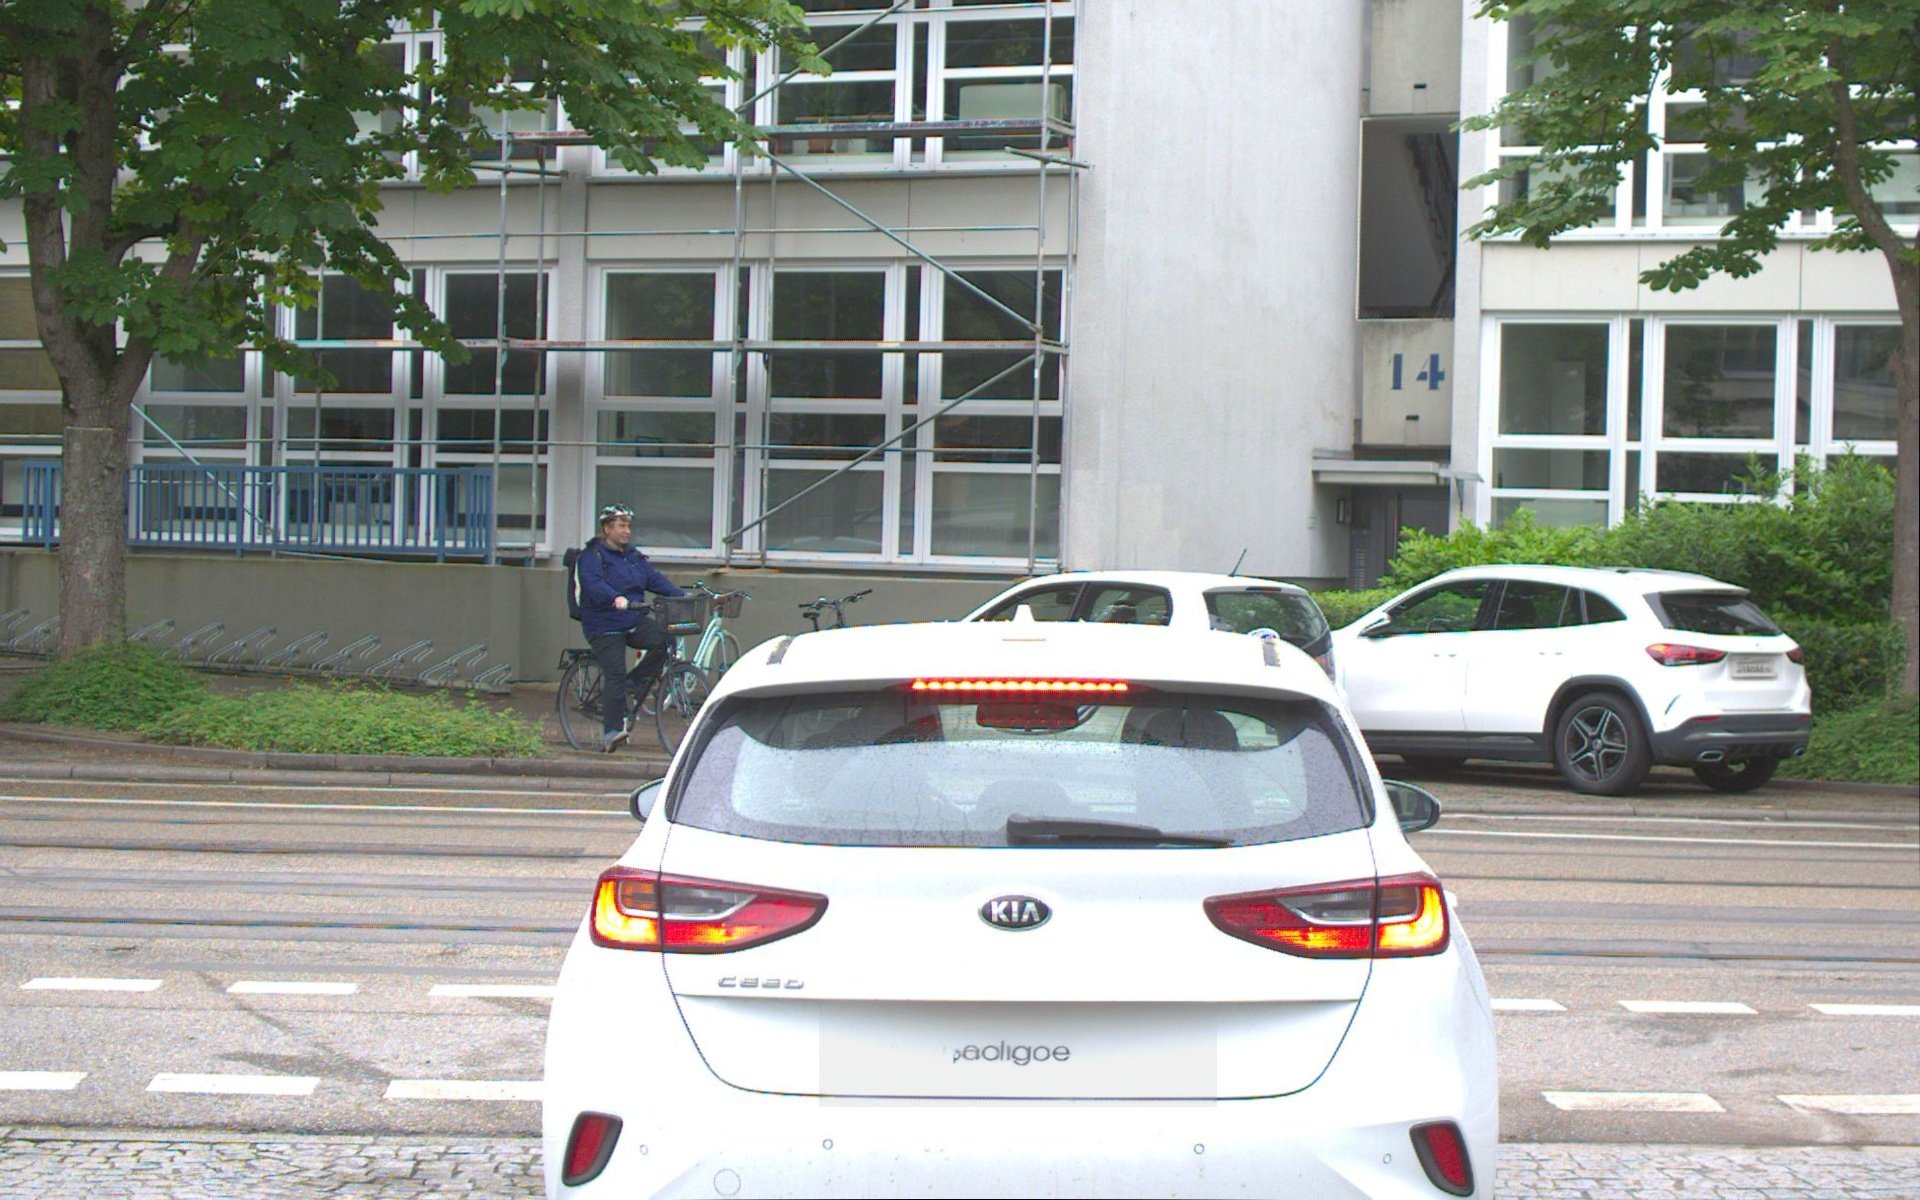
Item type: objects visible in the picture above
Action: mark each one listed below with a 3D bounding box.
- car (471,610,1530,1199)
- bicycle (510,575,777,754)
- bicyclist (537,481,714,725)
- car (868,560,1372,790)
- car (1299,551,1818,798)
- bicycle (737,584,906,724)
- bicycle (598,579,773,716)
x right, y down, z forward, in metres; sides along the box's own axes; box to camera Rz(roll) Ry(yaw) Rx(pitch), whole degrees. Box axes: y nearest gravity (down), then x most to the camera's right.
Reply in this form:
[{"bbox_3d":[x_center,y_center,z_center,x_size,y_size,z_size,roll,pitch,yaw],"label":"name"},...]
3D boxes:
[{"bbox_3d":[0.156,0.792,7.787,1.775,1.428,3.978,1,-1,3],"label":"car"},{"bbox_3d":[-2.261,0.439,24.401,1.914,1.170,0.819,3,1,45],"label":"bicycle"},{"bbox_3d":[-2.387,0.017,24.544,0.832,1.692,0.896,1,1,-45],"label":"bicyclist"},{"bbox_3d":[1.079,0.482,24.281,1.552,1.468,3.406,0,1,-44],"label":"car"},{"bbox_3d":[4.261,0.485,24.773,1.552,1.612,3.406,0,1,-44],"label":"car"},{"bbox_3d":[-1.195,0.452,30.249,0.645,1.071,2.310,2,3,20],"label":"bicycle"},{"bbox_3d":[-2.430,0.402,30.716,0.645,1.071,2.310,2,3,20],"label":"bicycle"}]
